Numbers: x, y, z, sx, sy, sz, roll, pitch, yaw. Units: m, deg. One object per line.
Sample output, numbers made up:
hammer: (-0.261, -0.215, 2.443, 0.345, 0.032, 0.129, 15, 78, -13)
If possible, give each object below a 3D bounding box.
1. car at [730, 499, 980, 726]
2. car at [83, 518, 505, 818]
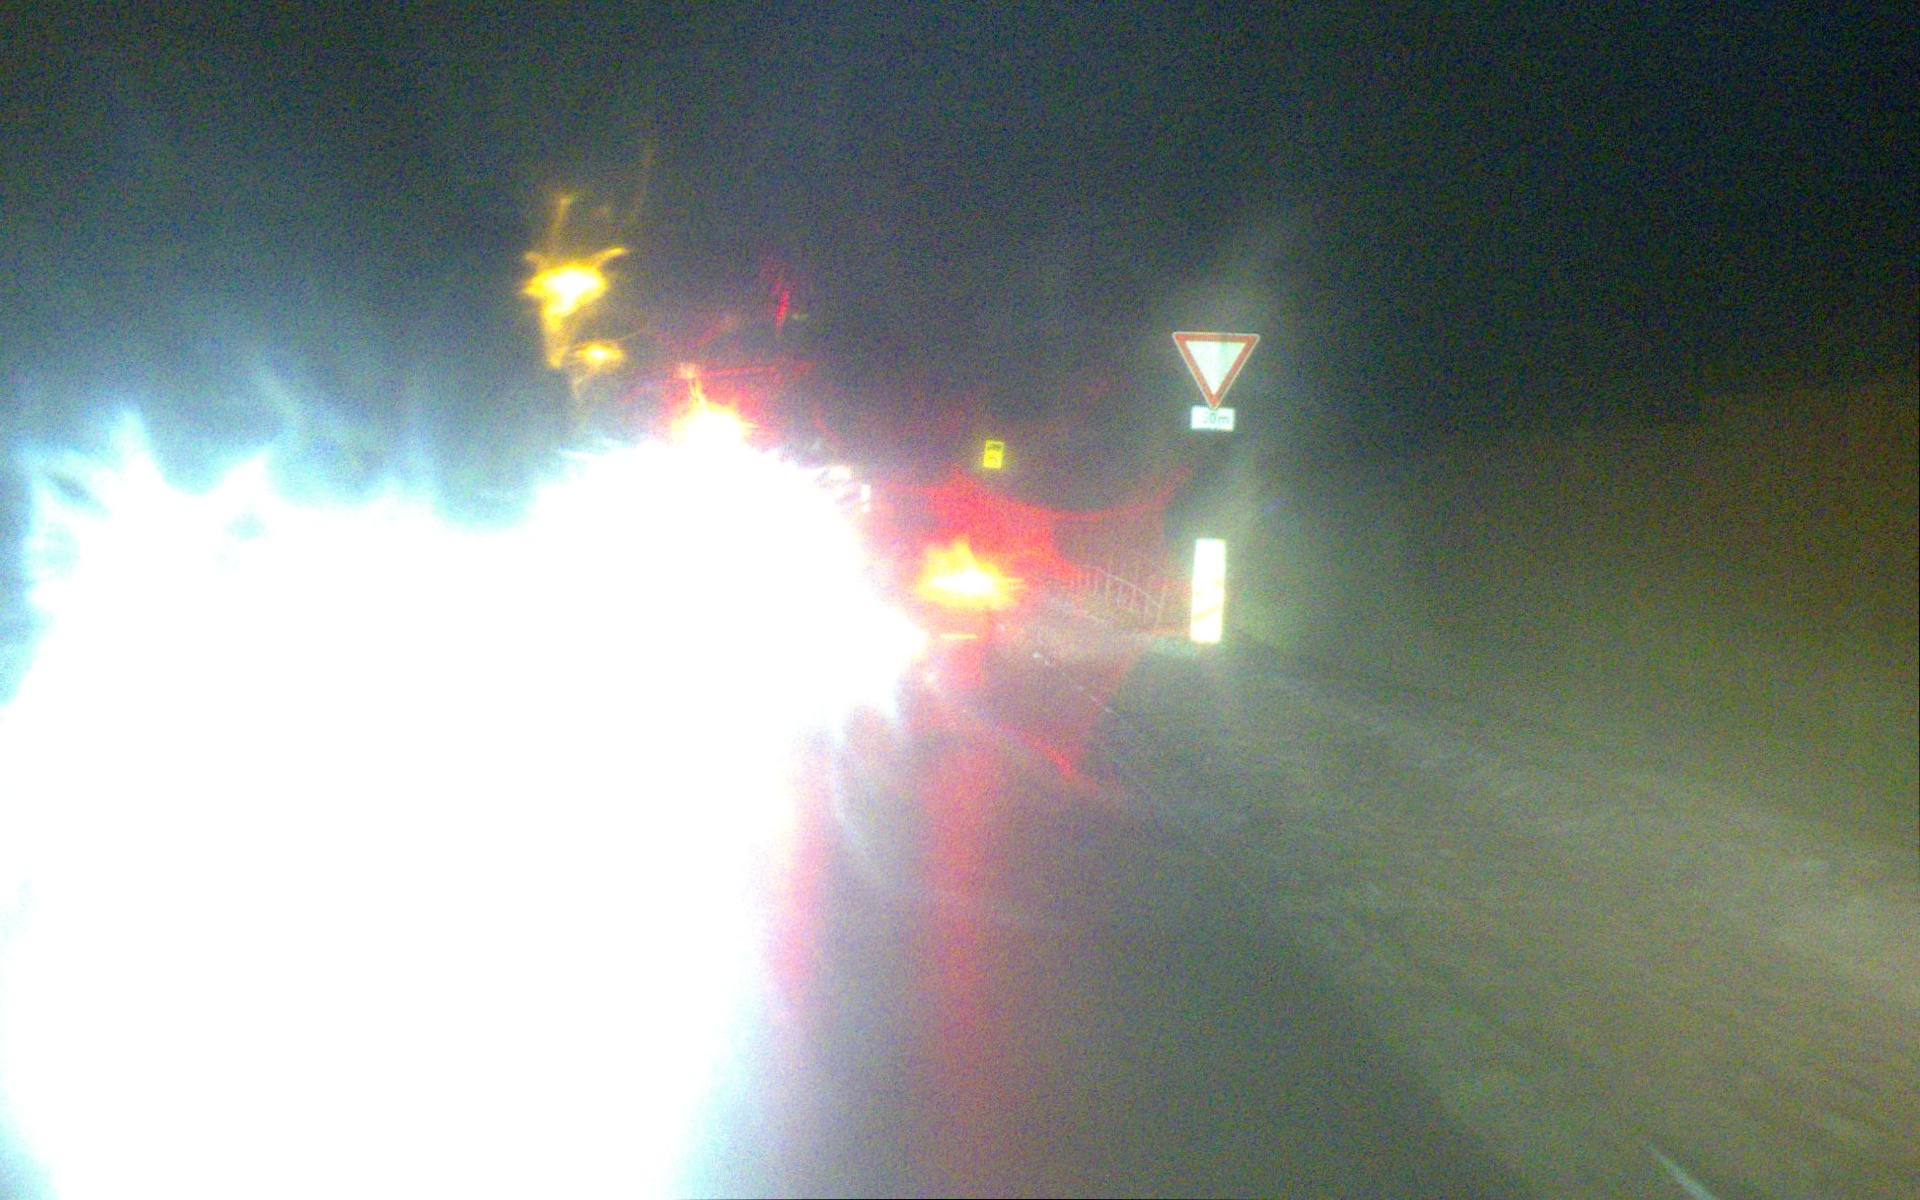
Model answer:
car: (-0.808, 0.088, 27.437, 1.801, 1.623, 3.615, 2, 0, -1)
car: (-3.673, 0.325, 19.594, 1.731, 1.513, 4.016, 1, 1, -2)
